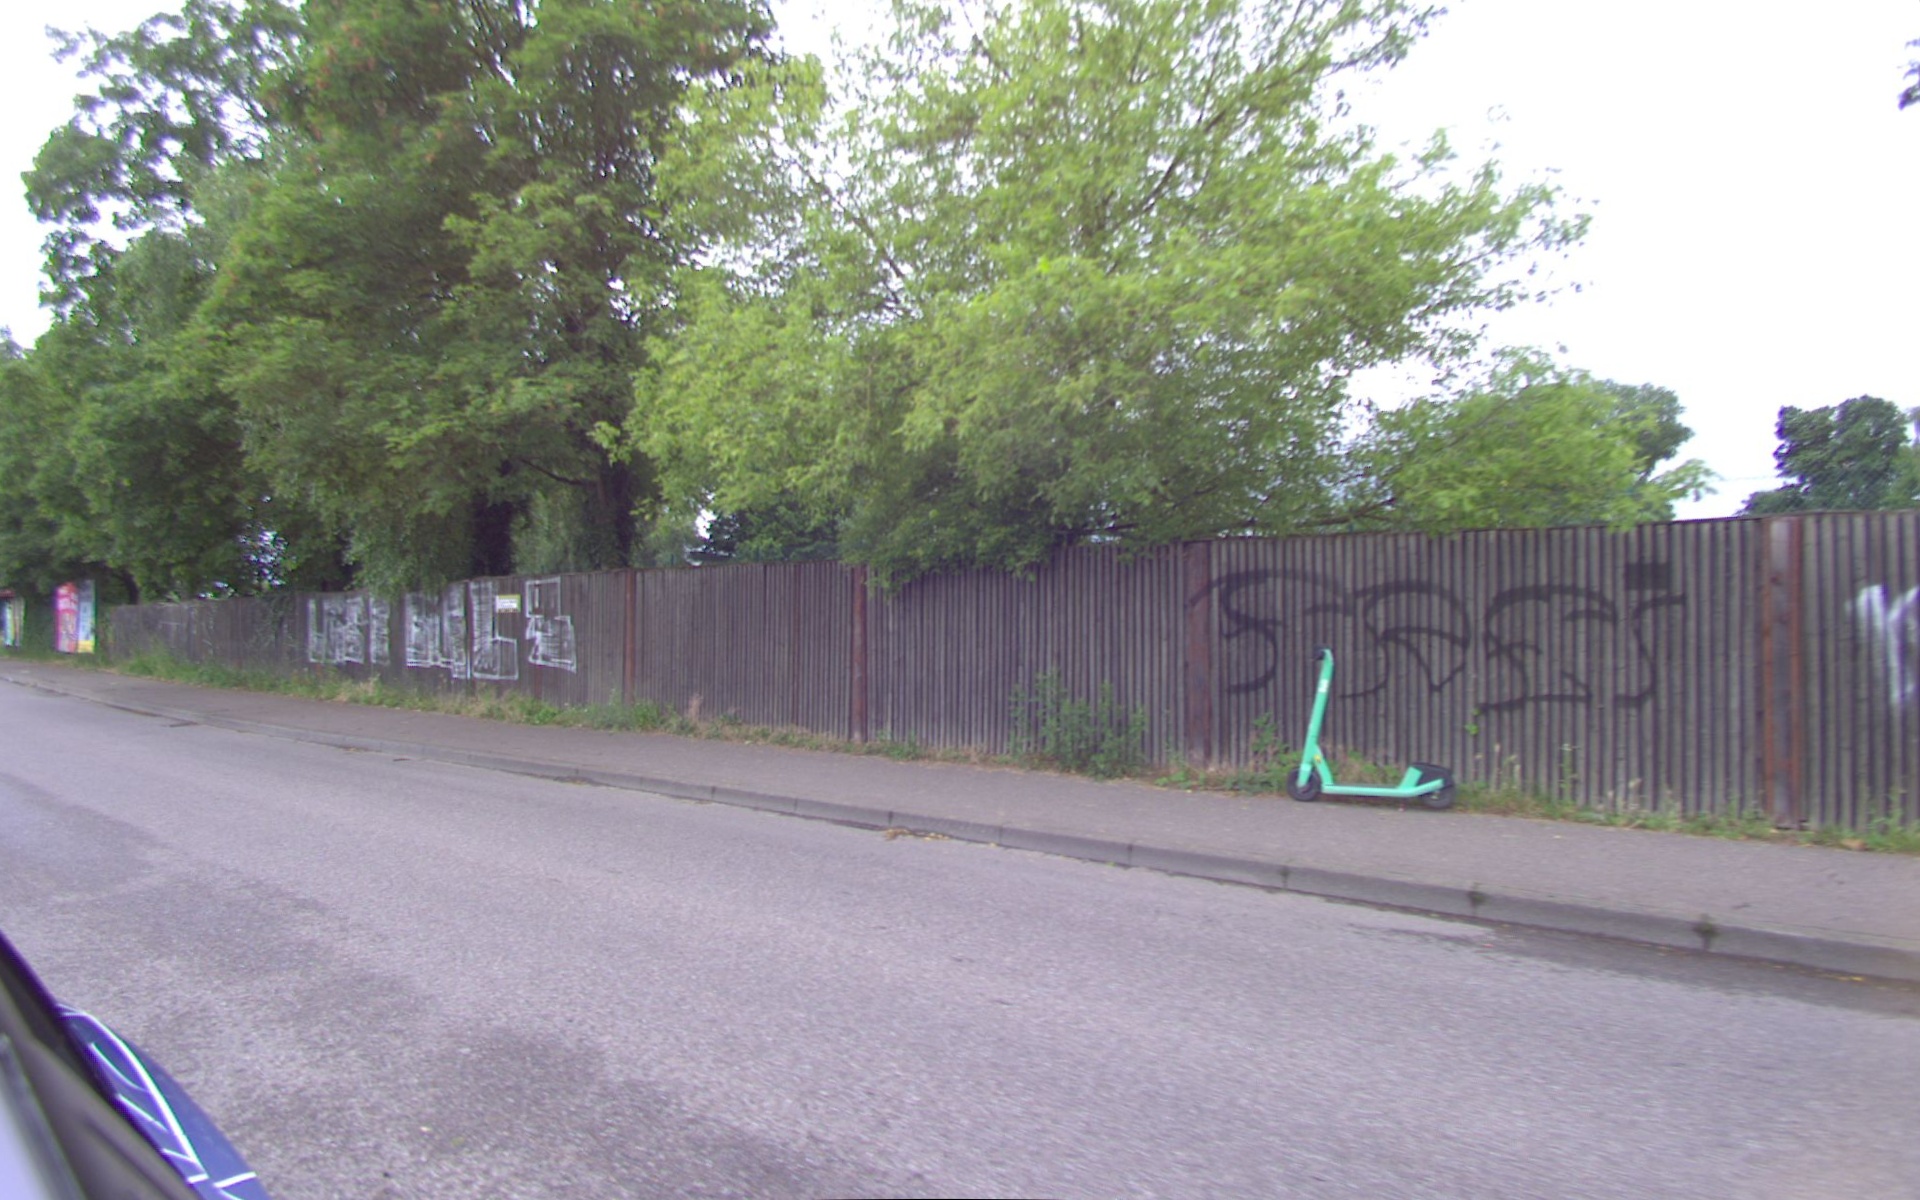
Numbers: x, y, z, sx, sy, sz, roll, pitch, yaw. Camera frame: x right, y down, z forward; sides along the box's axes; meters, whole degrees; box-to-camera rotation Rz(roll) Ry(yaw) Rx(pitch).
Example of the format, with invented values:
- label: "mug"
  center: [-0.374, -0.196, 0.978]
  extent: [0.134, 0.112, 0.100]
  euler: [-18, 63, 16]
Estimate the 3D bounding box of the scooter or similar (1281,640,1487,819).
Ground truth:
- label: "scooter or similar"
  center: [3.046, 0.888, 7.330]
  extent: [1.300, 1.179, 0.419]
  euler: [-2, -2, 35]
